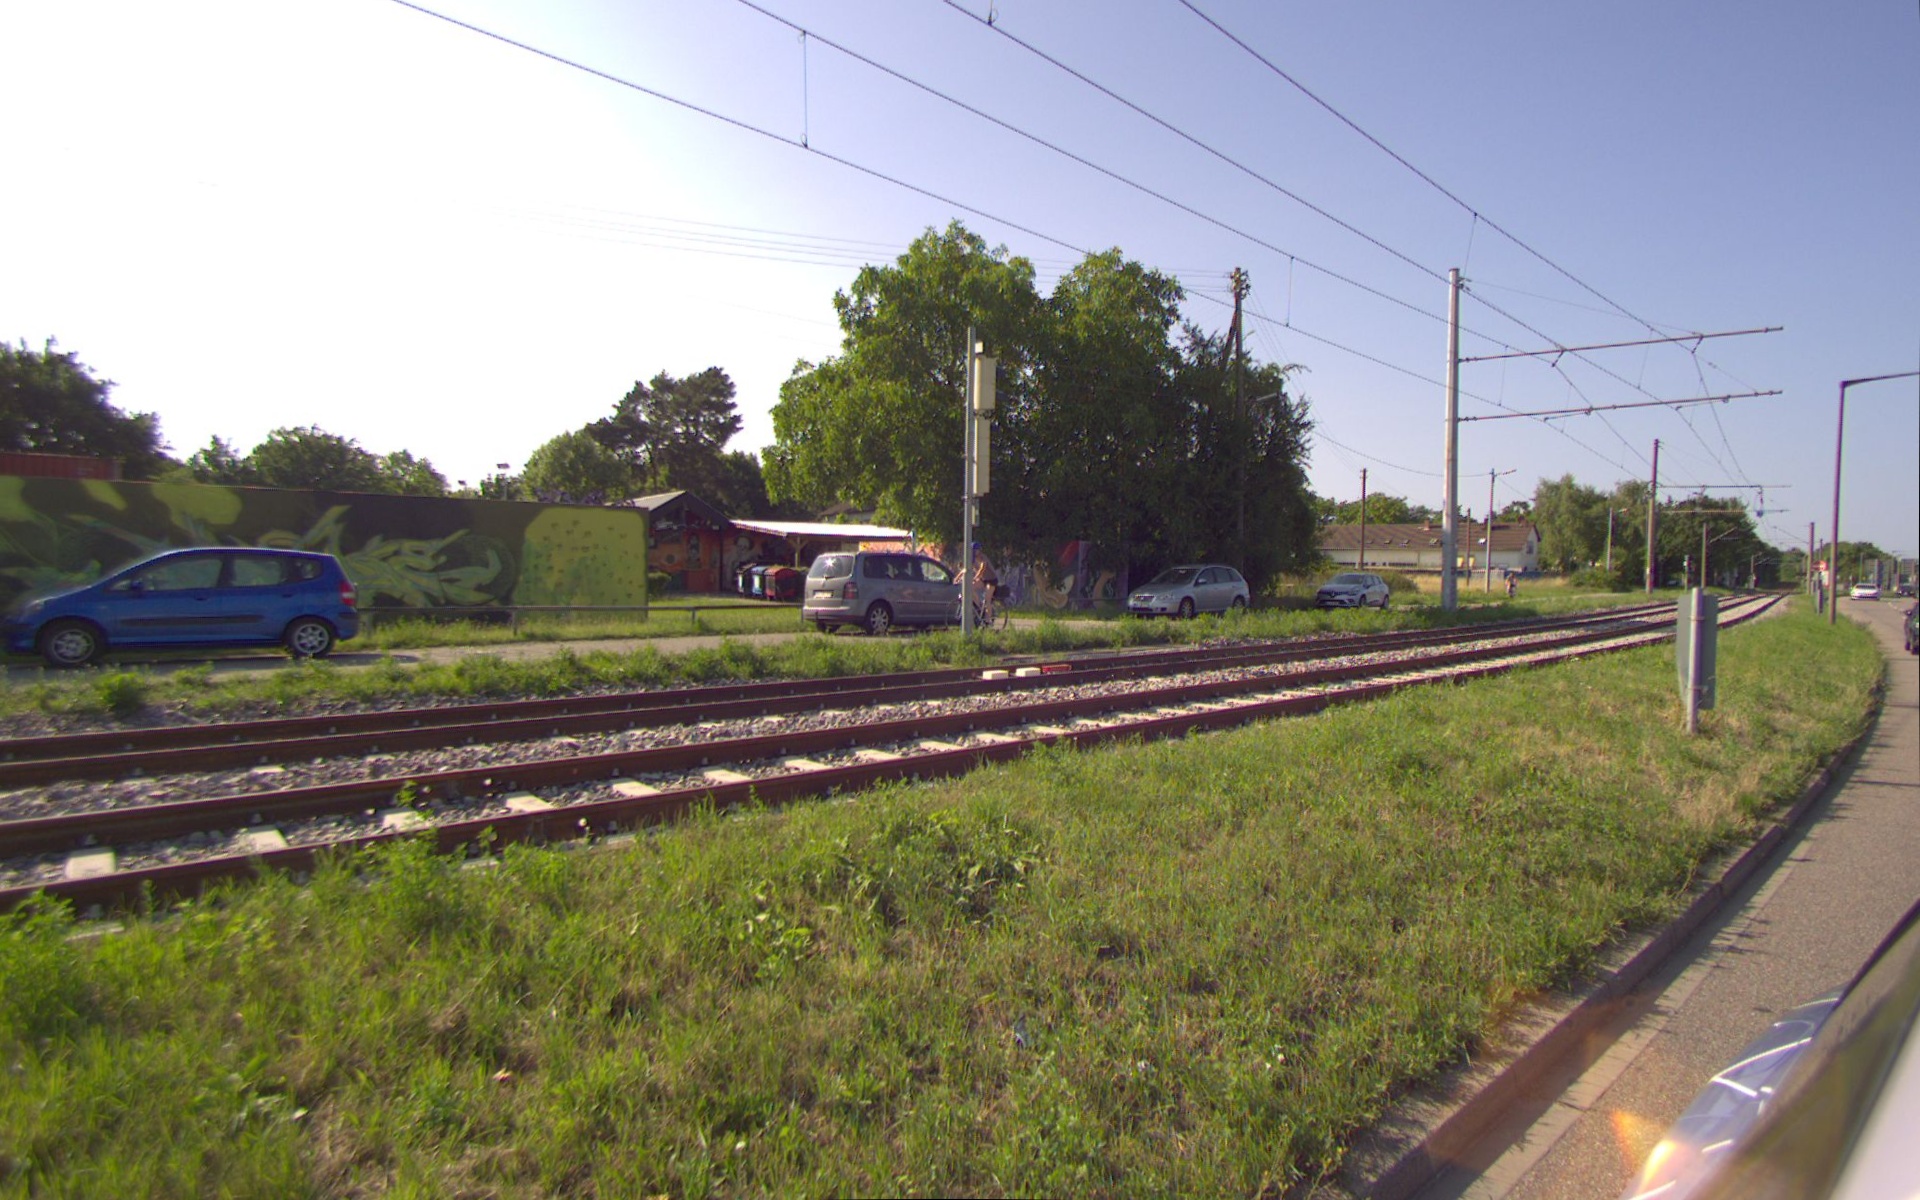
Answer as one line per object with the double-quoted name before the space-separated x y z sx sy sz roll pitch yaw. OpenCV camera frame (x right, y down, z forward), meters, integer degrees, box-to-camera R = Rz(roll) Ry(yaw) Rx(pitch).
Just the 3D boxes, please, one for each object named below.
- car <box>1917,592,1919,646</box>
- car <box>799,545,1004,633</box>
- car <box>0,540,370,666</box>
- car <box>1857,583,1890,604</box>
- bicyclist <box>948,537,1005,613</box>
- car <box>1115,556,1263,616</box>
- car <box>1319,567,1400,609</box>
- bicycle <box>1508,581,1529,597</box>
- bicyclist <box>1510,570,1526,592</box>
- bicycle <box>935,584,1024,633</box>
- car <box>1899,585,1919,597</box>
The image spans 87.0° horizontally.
"car" 26.369 0.473 26.496 1.843 1.372 4.088 0 0 44
"car" -1.102 -0.253 20.967 1.522 1.630 4.414 3 2 43
"car" -10.180 0.032 13.469 3.840 1.448 1.682 0 0 -38
"car" 76.298 -0.559 84.513 1.962 1.639 4.242 2 2 42
"bicyclist" 0.331 -0.487 19.753 0.946 1.440 0.630 0 1 -43
"car" 6.817 -0.421 29.871 4.646 1.610 1.910 0 2 -42
"car" 15.231 -0.474 38.486 1.533 1.466 4.069 3 2 41
"bicycle" 32.314 -0.634 58.577 0.643 0.921 1.785 1 1 43
"bicyclist" 32.323 -1.093 58.581 0.639 1.248 0.779 1 1 44
"bicycle" 0.394 0.148 19.821 1.813 0.921 0.643 -1 1 -43
"car" 116.669 -1.116 124.259 1.830 1.532 4.093 0 0 40
